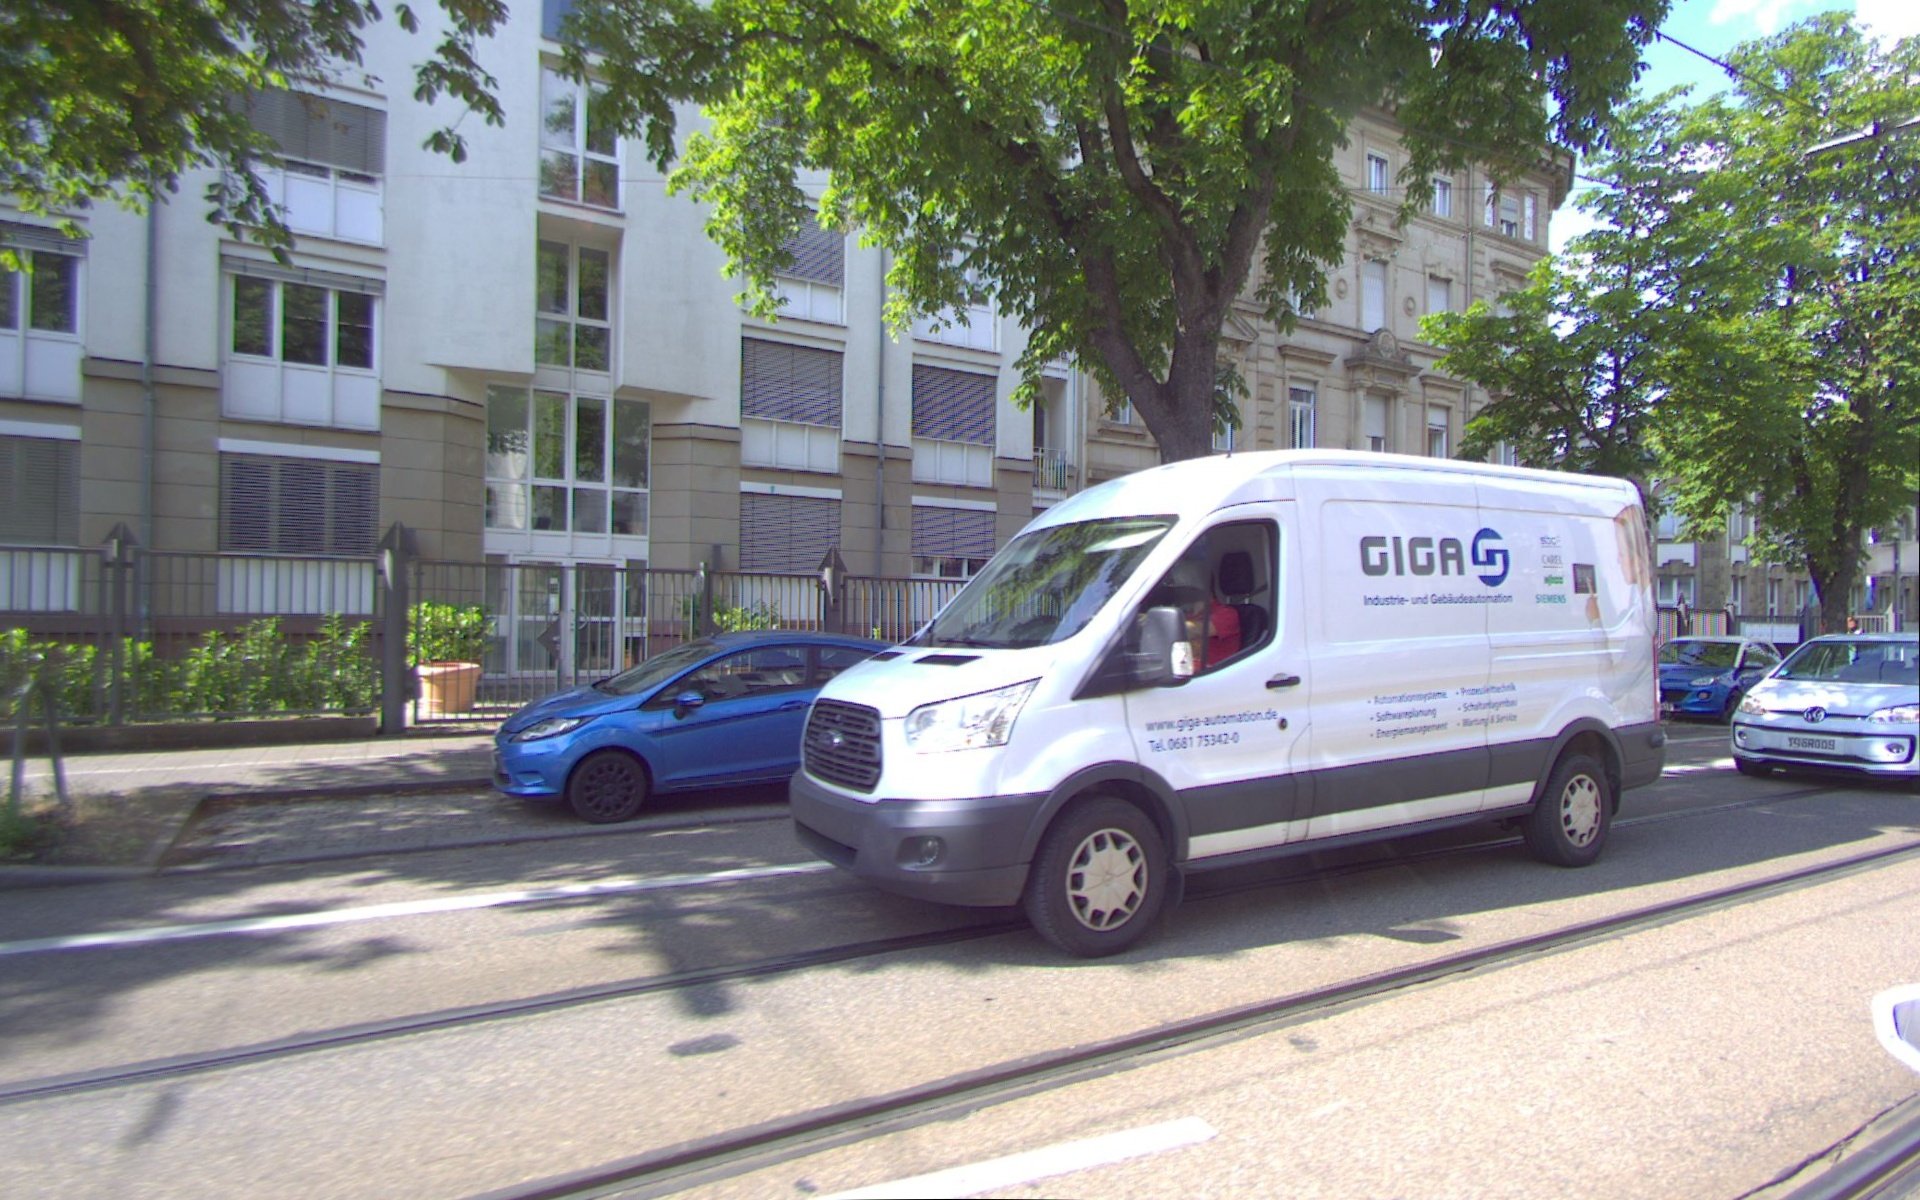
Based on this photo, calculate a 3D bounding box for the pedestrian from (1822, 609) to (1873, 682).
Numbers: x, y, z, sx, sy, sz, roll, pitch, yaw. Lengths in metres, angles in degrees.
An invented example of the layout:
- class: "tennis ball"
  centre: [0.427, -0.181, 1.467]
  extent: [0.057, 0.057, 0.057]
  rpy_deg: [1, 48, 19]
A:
- class: "pedestrian"
  centre: [25.720, 1.319, 29.122]
  extent: [0.816, 2.040, 0.820]
  rpy_deg: [2, 1, -30]

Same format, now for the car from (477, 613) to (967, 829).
- class: "car"
  centre: [-2.073, 0.960, 9.107]
  extent: [4.038, 1.539, 1.541]
  rpy_deg: [2, 1, -30]

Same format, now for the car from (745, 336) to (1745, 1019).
- class: "car"
  centre: [2.050, 0.324, 6.300]
  extent: [6.286, 2.541, 2.306]
  rpy_deg: [1, -1, -29]

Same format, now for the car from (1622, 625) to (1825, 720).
- class: "car"
  centre: [14.060, 1.294, 18.470]
  extent: [3.765, 1.504, 1.646]
  rpy_deg: [2, 1, -31]

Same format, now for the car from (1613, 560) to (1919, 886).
- class: "car"
  centre: [9.623, 1.034, 10.406]
  extent: [6.290, 2.541, 2.304]
  rpy_deg: [1, -1, -31]
